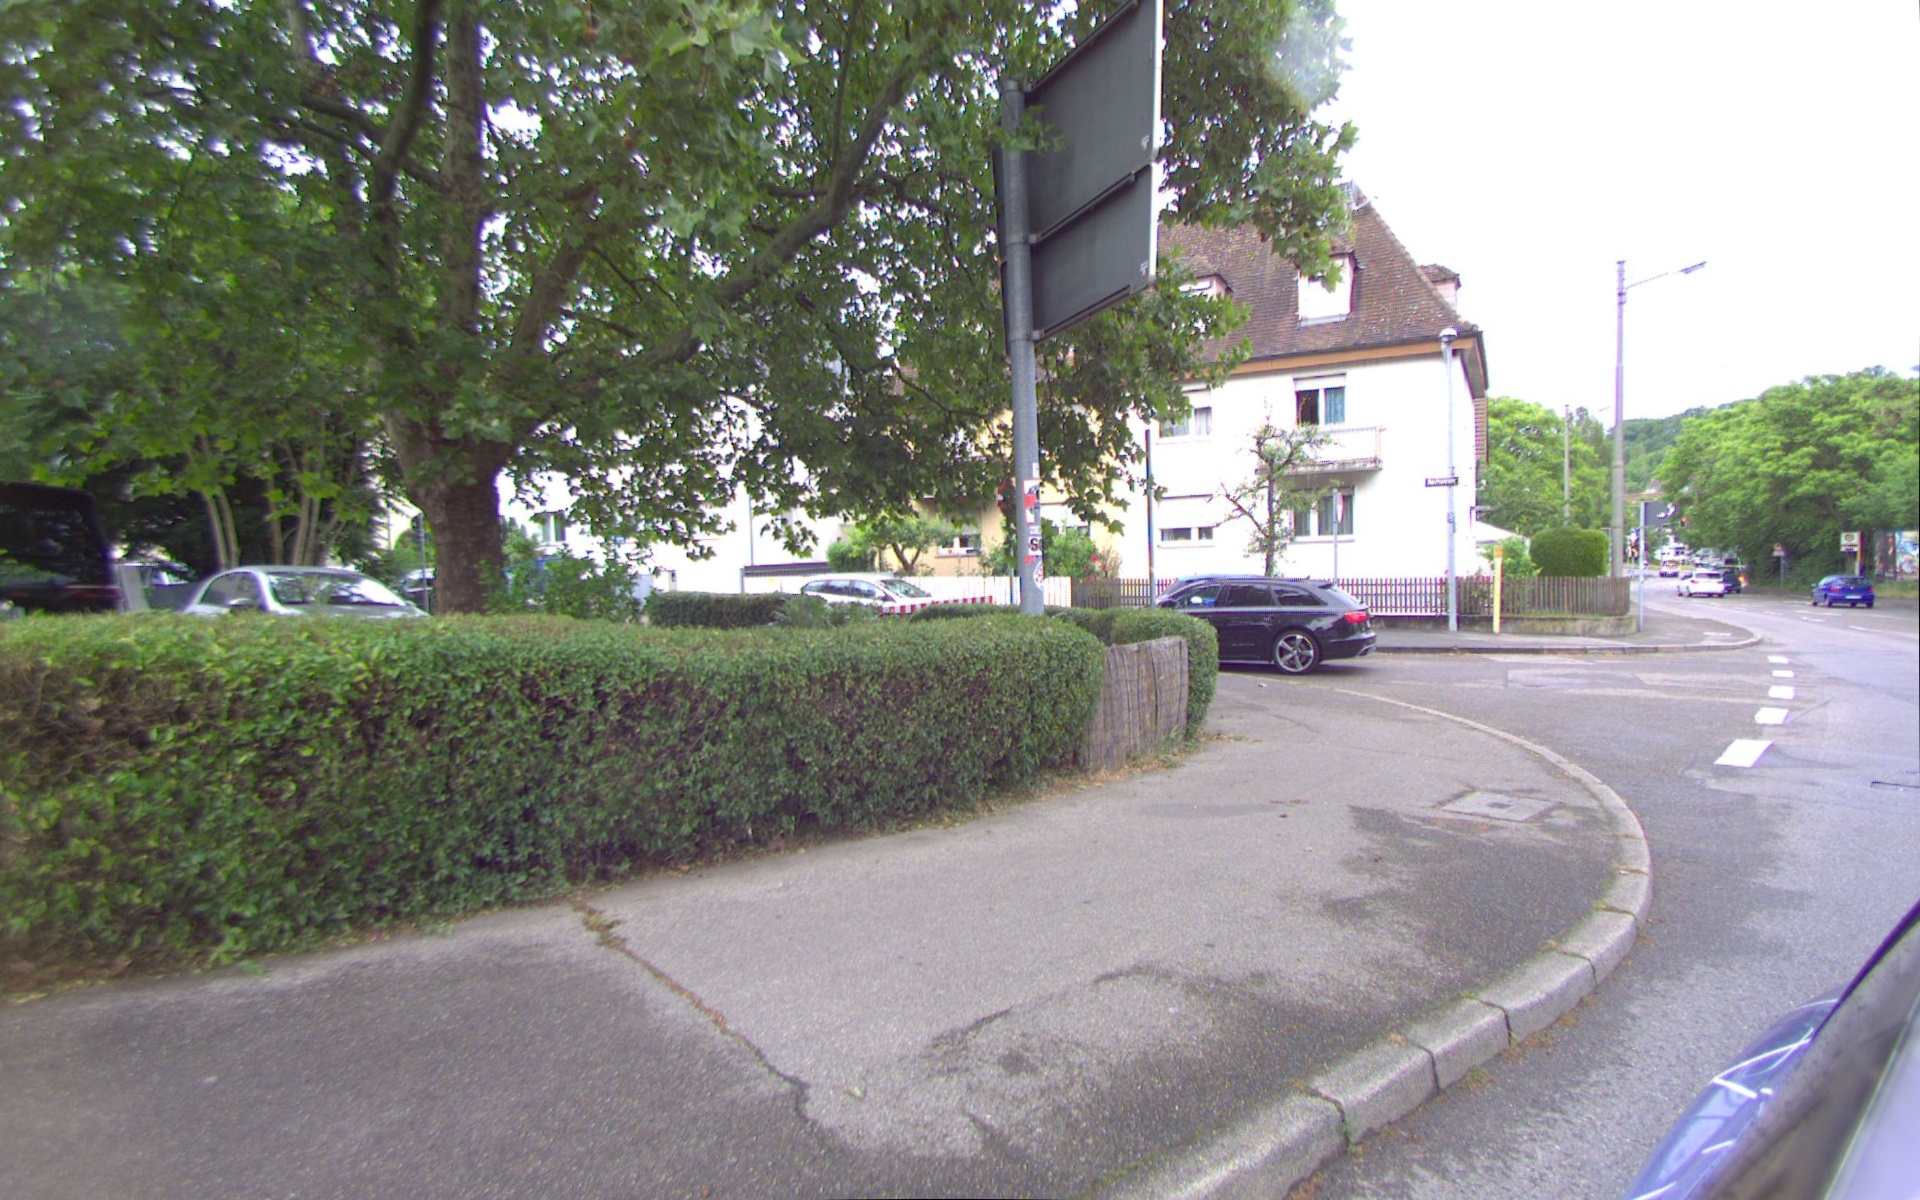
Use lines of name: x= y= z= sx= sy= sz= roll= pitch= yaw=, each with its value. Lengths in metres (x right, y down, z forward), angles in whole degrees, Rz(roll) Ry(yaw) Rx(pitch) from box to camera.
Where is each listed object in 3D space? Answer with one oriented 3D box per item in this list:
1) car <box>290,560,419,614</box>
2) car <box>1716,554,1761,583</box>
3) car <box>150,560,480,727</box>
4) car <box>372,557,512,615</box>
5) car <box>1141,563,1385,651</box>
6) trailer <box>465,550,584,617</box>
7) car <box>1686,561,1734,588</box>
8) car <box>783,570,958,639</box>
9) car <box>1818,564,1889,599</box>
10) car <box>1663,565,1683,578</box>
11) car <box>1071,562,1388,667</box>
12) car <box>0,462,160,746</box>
car: x=-22.076 y=-0.511 z=36.894 sx=4.535 sy=1.862 sz=1.982 roll=1 pitch=2 yaw=28
car: x=53.758 y=-2.177 z=69.983 sx=1.949 sy=1.955 sz=4.631 roll=1 pitch=2 yaw=32
car: x=-7.444 y=0.361 z=11.580 sx=3.974 sy=1.599 sz=1.800 roll=1 pitch=2 yaw=35
car: x=-17.507 y=-0.498 z=34.178 sx=4.535 sy=1.862 sz=1.982 roll=1 pitch=2 yaw=28
car: x=5.689 y=0.054 z=19.152 sx=4.095 sy=1.498 sz=1.865 roll=2 pitch=2 yaw=32
trailer: x=-13.925 y=-0.556 z=32.371 sx=3.456 sy=2.038 sz=1.657 roll=1 pitch=1 yaw=26
car: x=45.504 y=-1.543 z=61.498 sx=1.821 sy=1.598 sz=4.289 roll=0 pitch=1 yaw=30
car: x=-2.081 y=0.057 z=23.401 sx=3.752 sy=1.471 sz=1.754 roll=1 pitch=1 yaw=30
car: x=39.407 y=-0.774 z=44.696 sx=1.589 sy=1.444 sz=3.658 roll=-1 pitch=0 yaw=29
car: x=83.706 y=-3.380 z=118.839 sx=1.888 sy=1.479 sz=3.951 roll=1 pitch=2 yaw=34
car: x=4.373 y=0.149 z=16.548 sx=4.768 sy=1.498 sz=1.870 roll=1 pitch=2 yaw=25
car: x=-8.534 y=-0.001 z=7.983 sx=4.376 sy=1.956 sz=1.980 roll=1 pitch=2 yaw=29
